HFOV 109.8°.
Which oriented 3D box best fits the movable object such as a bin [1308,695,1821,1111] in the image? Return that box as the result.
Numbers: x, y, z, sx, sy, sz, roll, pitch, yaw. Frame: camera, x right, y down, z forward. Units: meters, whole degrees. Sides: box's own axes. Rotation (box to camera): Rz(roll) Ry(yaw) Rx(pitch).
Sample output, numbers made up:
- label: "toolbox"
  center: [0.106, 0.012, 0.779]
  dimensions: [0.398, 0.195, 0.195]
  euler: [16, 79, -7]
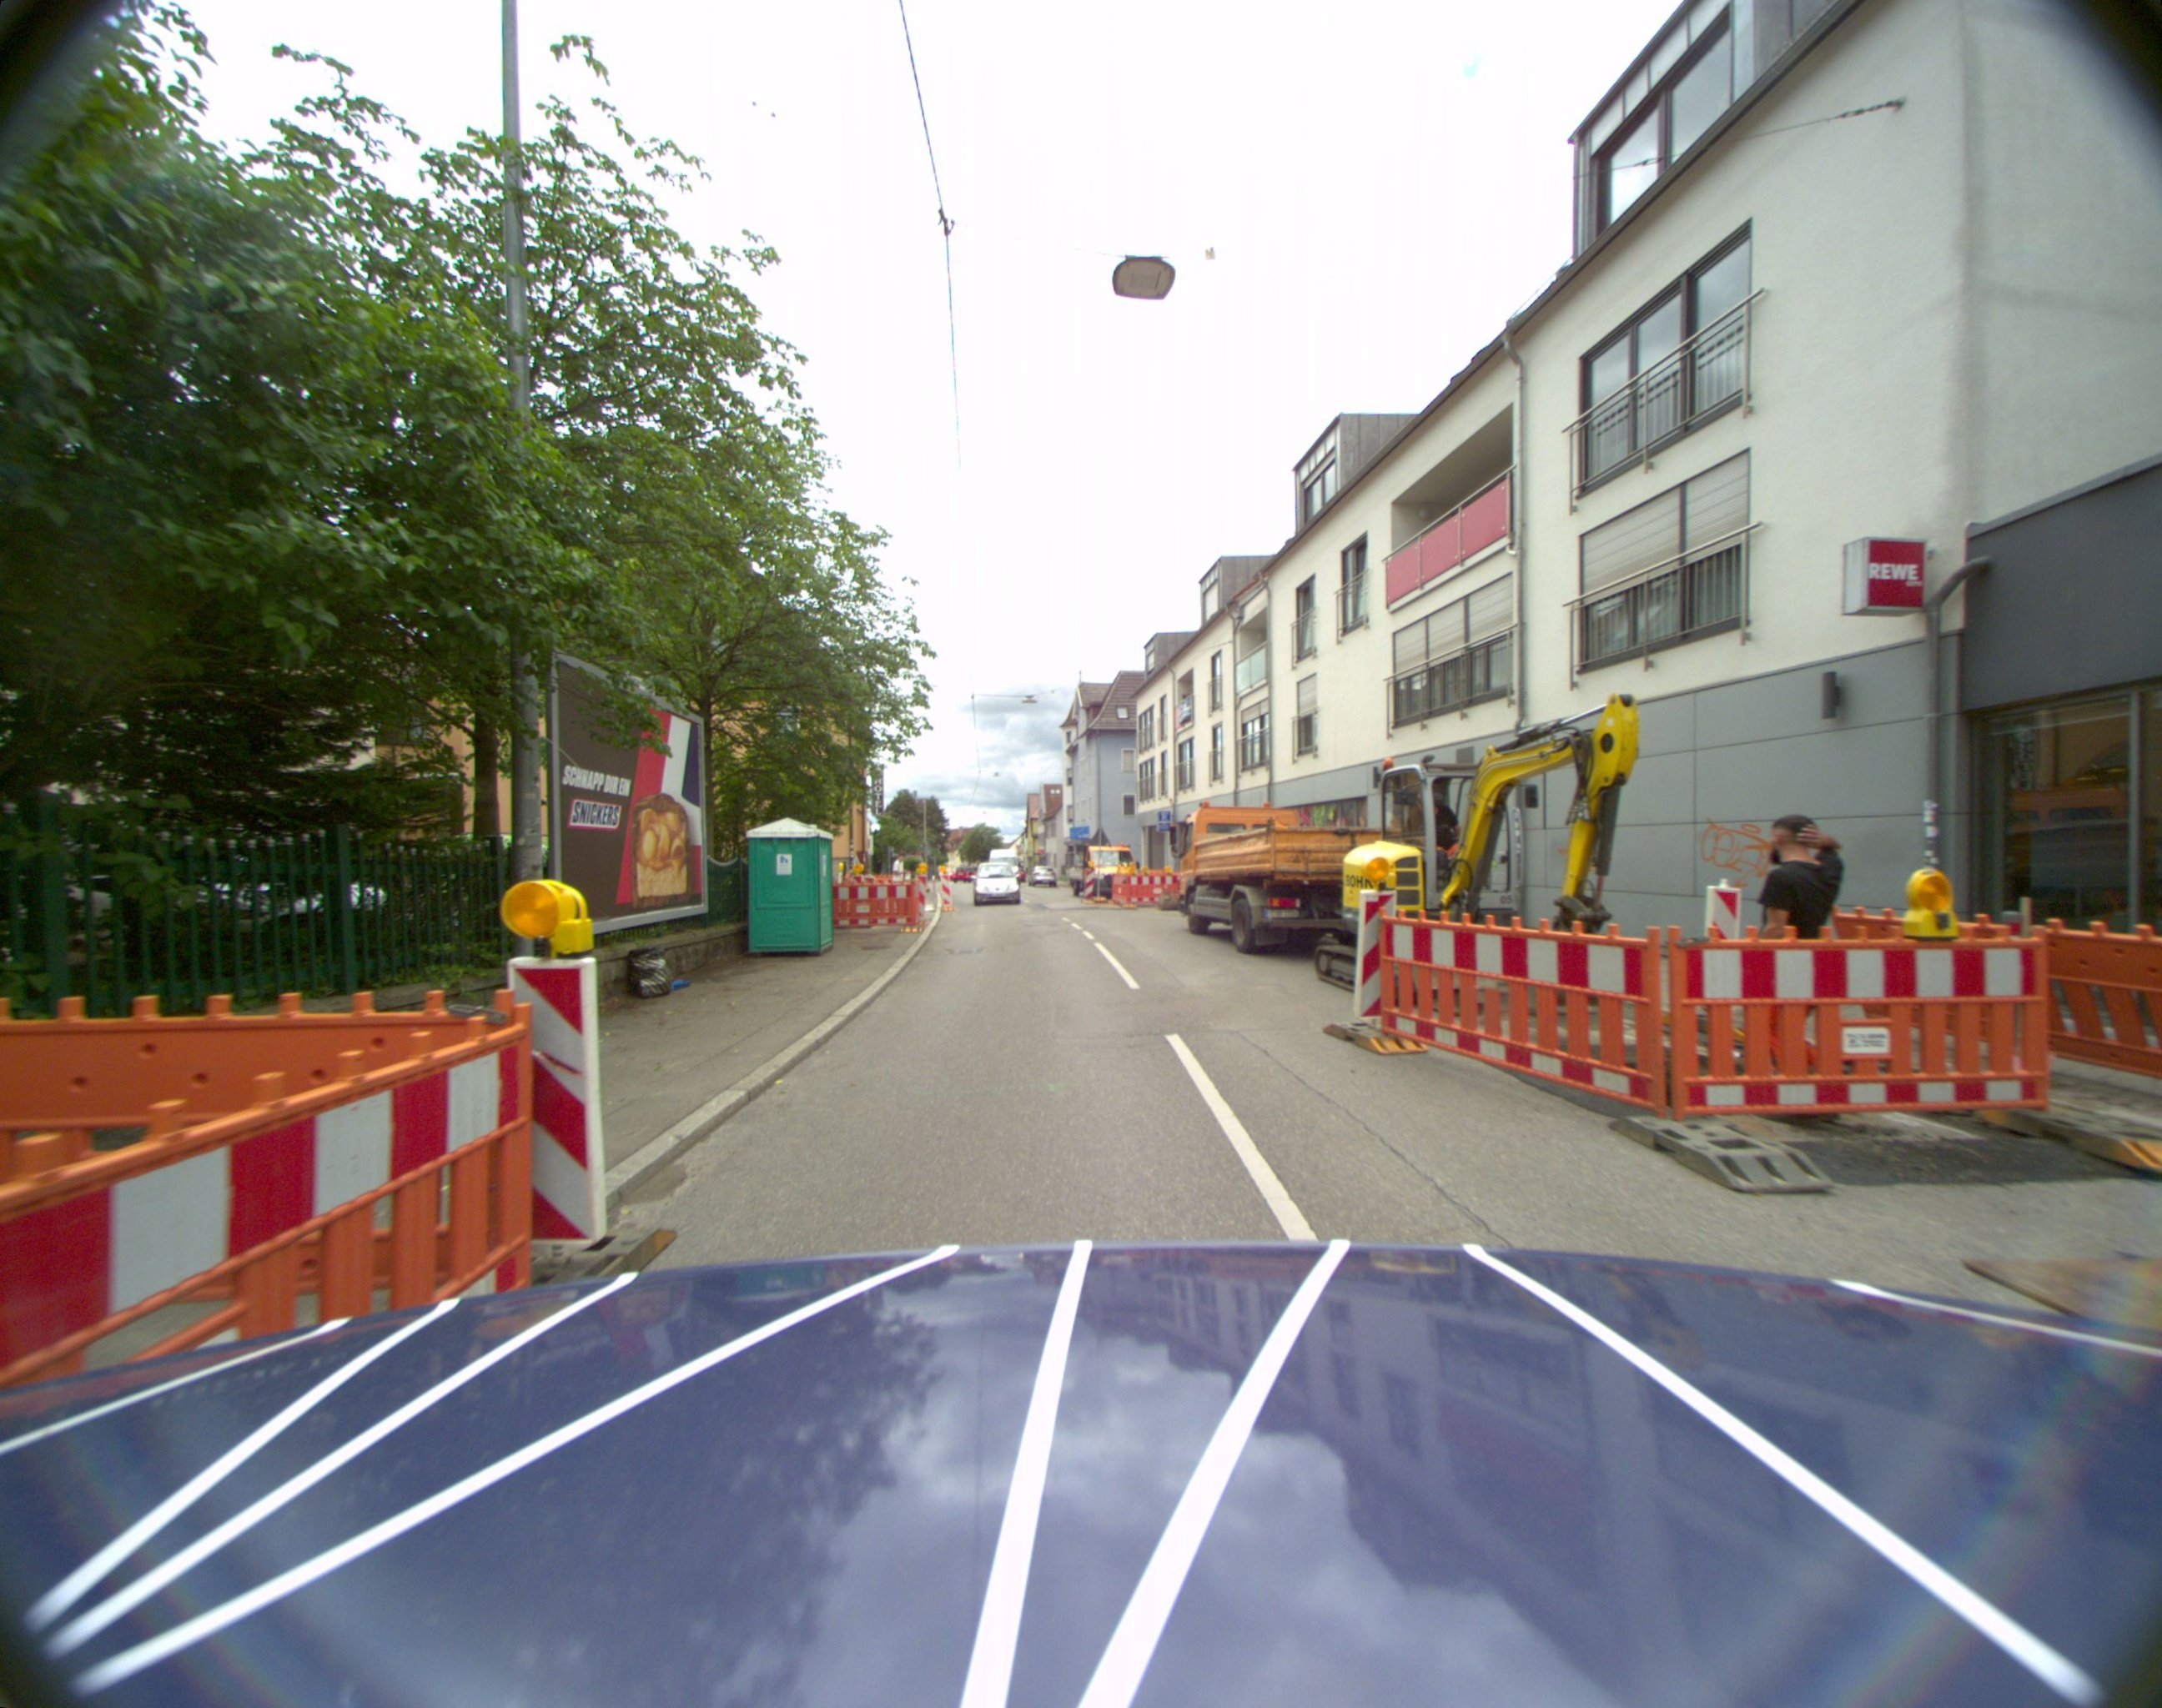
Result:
- label: "movable object such as a bin"
  center: [3.907, 0.287, 7.317]
  dimensions: [1.844, 2.748, 4.503]
  euler: [0, 1, -4]

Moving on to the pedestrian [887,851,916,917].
- label: "pedestrian"
  center: [-5.394, 0.887, 22.857]
  dimensions: [0.801, 1.938, 0.835]
  euler: [0, 0, -11]

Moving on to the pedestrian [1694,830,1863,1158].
- label: "pedestrian"
  center: [3.875, 0.741, 4.249]
  dimensions: [0.538, 1.734, 0.443]
  euler: [0, 0, -2]

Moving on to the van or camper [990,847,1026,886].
- label: "van or camper"
  center: [-5.093, 0.885, 53.440]
  dimensions: [2.326, 2.591, 6.206]
  euler: [0, -1, -5]

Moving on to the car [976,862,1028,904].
- label: "car"
  center: [-3.167, 1.087, 29.782]
  dimensions: [1.859, 1.547, 4.349]
  euler: [0, -1, -8]

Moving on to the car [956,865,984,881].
- label: "car"
  center: [-10.270, 1.746, 70.445]
  dimensions: [1.818, 1.511, 2.941]
  euler: [0, -1, 6]

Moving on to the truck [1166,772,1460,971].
- label: "truck"
  center: [3.606, 0.269, 13.887]
  dimensions: [2.739, 2.708, 6.845]
  euler: [0, -1, -5]

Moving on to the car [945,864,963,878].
- label: "car"
  center: [-14.321, 1.896, 85.930]
  dimensions: [1.720, 1.472, 3.998]
  euler: [0, -1, -6]

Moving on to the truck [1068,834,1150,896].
- label: "truck"
  center: [1.081, 0.485, 33.422]
  dimensions: [2.421, 2.451, 6.303]
  euler: [0, -1, -9]

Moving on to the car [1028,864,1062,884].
- label: "car"
  center: [-2.635, 1.410, 54.676]
  dimensions: [1.804, 1.403, 3.996]
  euler: [0, -1, -12]
